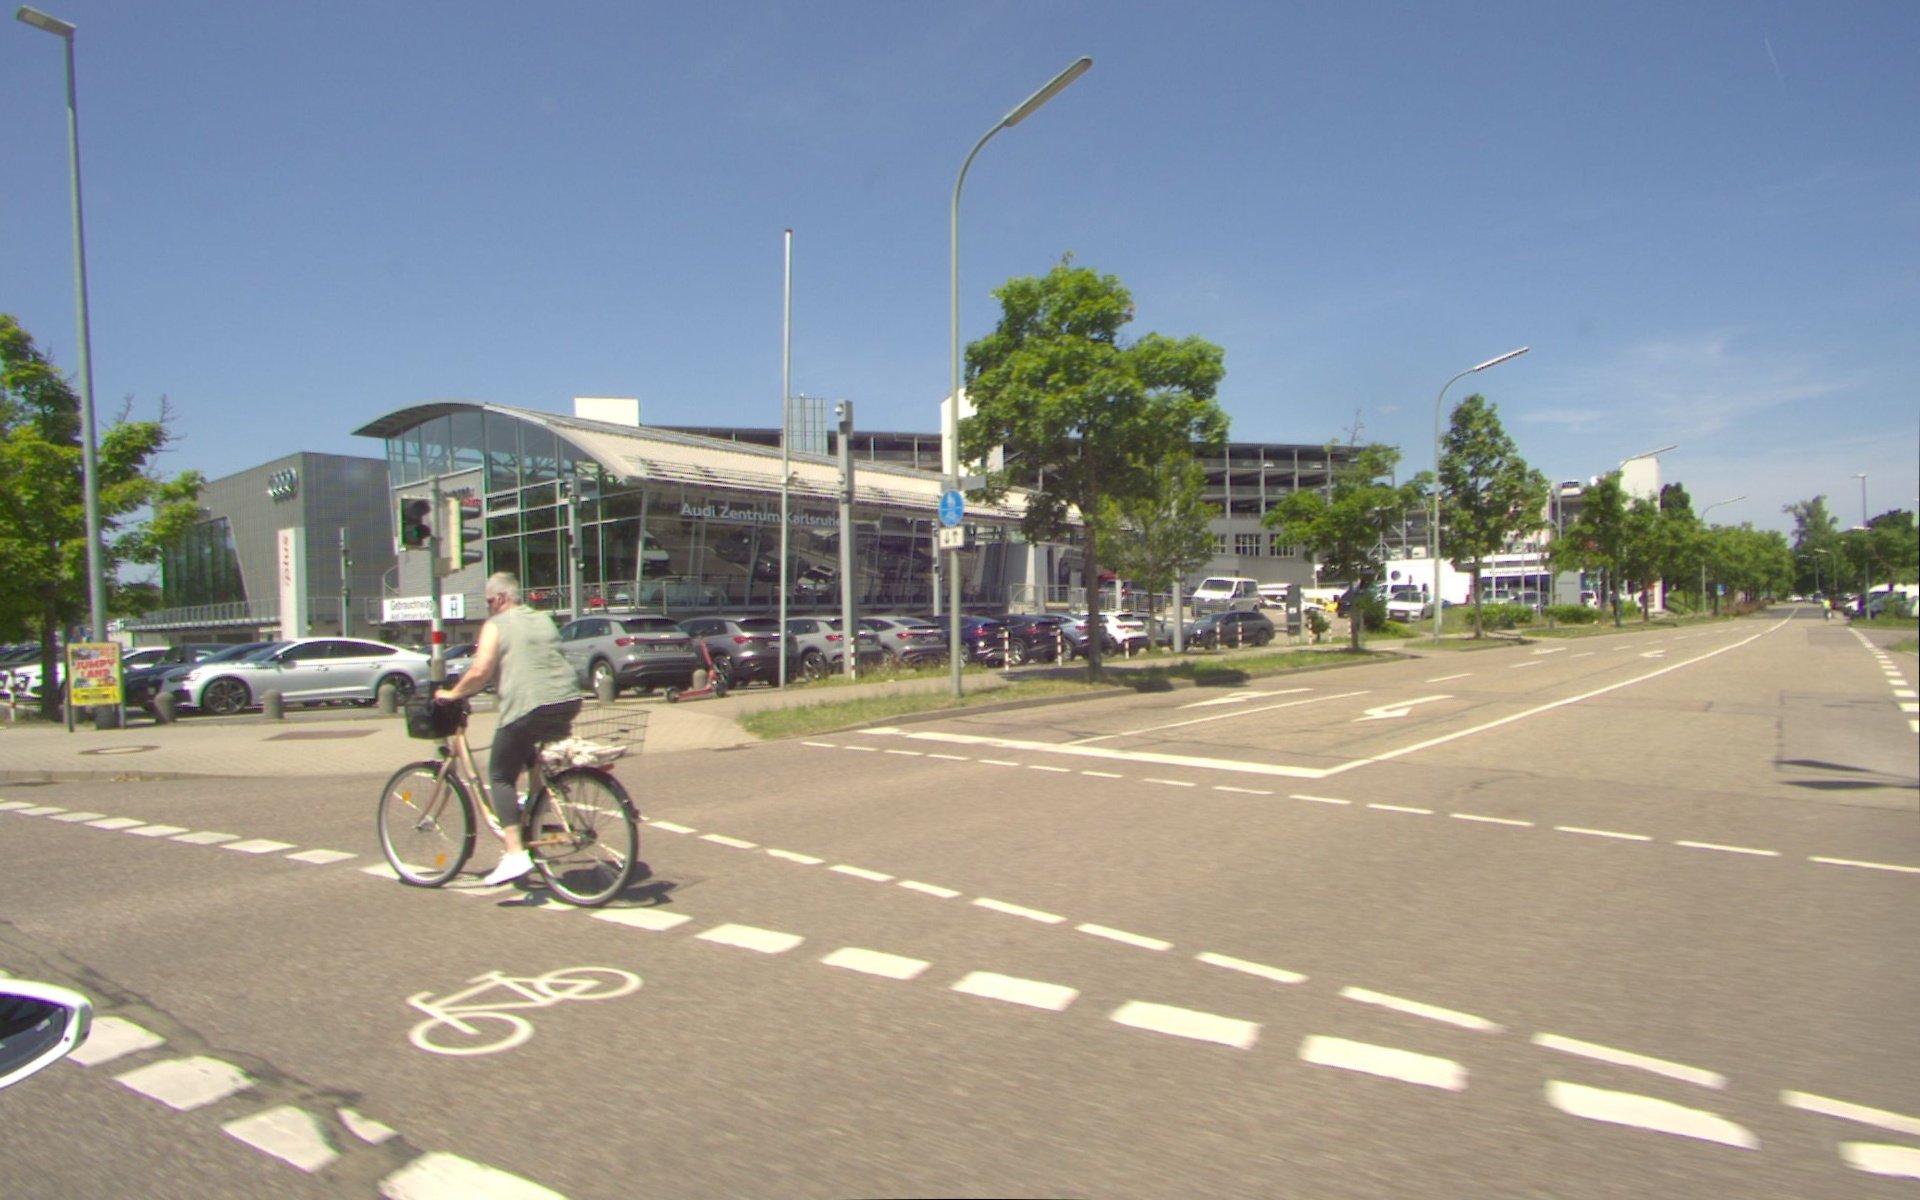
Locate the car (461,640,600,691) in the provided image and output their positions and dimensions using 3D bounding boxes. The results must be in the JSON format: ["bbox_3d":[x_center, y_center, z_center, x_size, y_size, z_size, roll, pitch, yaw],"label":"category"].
[{"bbox_3d":[-14.538,2.199,34.050,1.828,1.618,3.973,-2,-4,38],"label":"car"}]

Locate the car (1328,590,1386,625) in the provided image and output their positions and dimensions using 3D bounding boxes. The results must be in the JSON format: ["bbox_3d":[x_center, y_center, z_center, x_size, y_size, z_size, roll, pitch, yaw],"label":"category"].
[{"bbox_3d":[21.175,0.426,53.344,1.974,1.727,3.976,-1,-3,36],"label":"car"}]

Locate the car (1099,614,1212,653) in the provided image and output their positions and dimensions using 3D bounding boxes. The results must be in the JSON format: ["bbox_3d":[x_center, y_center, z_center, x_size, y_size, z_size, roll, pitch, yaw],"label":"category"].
[{"bbox_3d":[8.315,1.400,42.453,4.519,1.491,1.905,-1,-1,-28],"label":"car"}]

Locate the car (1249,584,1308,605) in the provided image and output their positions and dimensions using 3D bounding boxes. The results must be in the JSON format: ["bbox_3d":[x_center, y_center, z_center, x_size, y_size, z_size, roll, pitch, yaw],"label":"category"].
[{"bbox_3d":[26.638,-0.439,83.858,4.302,1.674,1.901,-2,-1,37],"label":"car"}]

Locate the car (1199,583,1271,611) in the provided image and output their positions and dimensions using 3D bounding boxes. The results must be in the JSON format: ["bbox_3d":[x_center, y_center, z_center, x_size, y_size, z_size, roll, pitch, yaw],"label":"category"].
[{"bbox_3d":[19.280,-0.206,70.296,4.534,1.820,1.899,-2,-1,39],"label":"car"}]

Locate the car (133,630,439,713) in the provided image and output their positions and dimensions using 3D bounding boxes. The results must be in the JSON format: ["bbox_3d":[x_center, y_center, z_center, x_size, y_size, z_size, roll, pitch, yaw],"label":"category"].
[{"bbox_3d":[-12.881,1.352,19.416,1.846,1.407,4.576,-2,-4,39],"label":"car"}]

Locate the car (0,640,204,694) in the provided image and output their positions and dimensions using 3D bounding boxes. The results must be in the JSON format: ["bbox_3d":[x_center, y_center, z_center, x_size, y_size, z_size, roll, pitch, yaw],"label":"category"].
[{"bbox_3d":[-23.327,1.791,27.238,1.846,1.365,4.086,-2,-4,38],"label":"car"}]

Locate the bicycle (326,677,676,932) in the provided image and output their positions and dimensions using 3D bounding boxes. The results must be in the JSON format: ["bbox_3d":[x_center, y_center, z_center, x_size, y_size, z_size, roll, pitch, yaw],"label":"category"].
[{"bbox_3d":[-2.485,1.015,5.385,1.863,1.147,0.628,-1,-1,23],"label":"bicycle"}]

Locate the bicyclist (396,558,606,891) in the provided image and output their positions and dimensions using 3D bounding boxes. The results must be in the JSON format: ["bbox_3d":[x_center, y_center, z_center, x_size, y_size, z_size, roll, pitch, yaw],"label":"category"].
[{"bbox_3d":[-2.443,0.626,5.361,0.812,1.626,0.628,-1,-2,23],"label":"bicyclist"}]

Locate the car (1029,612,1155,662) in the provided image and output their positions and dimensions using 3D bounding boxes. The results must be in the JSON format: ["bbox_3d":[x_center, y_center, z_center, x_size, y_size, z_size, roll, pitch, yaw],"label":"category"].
[{"bbox_3d":[4.580,1.314,34.901,3.944,1.675,1.841,-2,-3,34],"label":"car"}]

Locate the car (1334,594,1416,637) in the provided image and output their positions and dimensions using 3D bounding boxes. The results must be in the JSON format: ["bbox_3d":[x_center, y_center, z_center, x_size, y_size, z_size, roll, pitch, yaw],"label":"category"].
[{"bbox_3d":[17.722,0.637,42.657,1.892,1.716,4.551,-1,-1,41],"label":"car"}]

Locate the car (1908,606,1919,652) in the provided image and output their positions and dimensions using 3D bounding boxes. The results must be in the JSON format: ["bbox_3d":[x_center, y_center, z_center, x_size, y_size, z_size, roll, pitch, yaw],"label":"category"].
[{"bbox_3d":[30.414,0.820,29.205,3.923,1.350,1.919,-1,-1,-7],"label":"car"}]

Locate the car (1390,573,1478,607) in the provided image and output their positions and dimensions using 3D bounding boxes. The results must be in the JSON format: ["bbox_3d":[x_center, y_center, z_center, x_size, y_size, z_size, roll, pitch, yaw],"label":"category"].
[{"bbox_3d":[28.509,-0.559,60.294,4.530,1.911,1.901,-2,-1,37],"label":"car"}]

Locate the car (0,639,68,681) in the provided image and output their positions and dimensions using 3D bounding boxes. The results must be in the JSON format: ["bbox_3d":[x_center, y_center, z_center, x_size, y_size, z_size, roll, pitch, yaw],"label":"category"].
[{"bbox_3d":[-34.192,2.117,35.404,1.811,1.471,3.670,-2,-4,38],"label":"car"}]

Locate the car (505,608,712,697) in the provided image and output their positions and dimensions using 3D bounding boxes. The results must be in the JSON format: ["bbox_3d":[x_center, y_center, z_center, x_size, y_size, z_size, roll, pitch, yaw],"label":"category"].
[{"bbox_3d":[-7.151,1.062,20.173,4.451,1.578,1.860,-4,-1,39],"label":"car"}]

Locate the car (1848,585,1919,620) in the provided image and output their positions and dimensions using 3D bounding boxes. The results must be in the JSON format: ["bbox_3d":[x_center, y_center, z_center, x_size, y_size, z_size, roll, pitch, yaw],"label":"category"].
[{"bbox_3d":[73.325,0.222,77.583,6.619,2.552,2.202,-2,-3,41],"label":"car"}]

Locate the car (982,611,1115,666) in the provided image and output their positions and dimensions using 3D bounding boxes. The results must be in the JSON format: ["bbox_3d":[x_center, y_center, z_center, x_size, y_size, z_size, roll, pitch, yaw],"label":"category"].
[{"bbox_3d":[2.871,1.254,32.811,3.944,1.676,1.840,-2,-1,34],"label":"car"}]

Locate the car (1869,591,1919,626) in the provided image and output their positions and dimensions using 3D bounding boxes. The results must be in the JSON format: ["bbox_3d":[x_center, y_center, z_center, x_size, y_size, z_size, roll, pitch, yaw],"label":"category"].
[{"bbox_3d":[58.409,0.498,60.886,4.521,2.039,1.986,-2,-3,39],"label":"car"}]

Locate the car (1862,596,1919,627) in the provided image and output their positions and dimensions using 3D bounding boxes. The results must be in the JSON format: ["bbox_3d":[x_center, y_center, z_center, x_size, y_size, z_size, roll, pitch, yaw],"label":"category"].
[{"bbox_3d":[64.263,0.797,67.825,4.521,2.039,1.986,-2,-3,39],"label":"car"}]

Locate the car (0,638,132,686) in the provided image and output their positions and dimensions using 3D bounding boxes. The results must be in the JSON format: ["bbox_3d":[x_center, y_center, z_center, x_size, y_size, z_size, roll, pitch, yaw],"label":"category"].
[{"bbox_3d":[-29.881,2.013,32.693,1.846,1.471,4.088,-2,-4,38],"label":"car"}]

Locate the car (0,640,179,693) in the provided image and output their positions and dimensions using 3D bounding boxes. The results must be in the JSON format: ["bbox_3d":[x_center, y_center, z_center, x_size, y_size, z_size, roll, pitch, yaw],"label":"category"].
[{"bbox_3d":[-25.389,1.887,28.862,1.846,1.407,4.212,-2,-4,38],"label":"car"}]

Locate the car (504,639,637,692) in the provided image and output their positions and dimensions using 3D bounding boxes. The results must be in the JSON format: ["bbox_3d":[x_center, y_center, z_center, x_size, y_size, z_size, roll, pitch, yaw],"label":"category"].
[{"bbox_3d":[-12.089,1.997,30.937,4.663,1.534,1.867,-2,-4,41],"label":"car"}]

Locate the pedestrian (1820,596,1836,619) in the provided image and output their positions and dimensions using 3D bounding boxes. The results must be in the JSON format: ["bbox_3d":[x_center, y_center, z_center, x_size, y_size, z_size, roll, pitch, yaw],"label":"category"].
[{"bbox_3d":[65.416,0.576,75.471,0.864,1.699,0.751,-1,0,42],"label":"pedestrian"}]

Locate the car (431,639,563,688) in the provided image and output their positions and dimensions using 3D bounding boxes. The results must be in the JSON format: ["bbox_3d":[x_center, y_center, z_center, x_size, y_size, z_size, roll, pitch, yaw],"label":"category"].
[{"bbox_3d":[-16.454,2.236,35.773,1.636,1.642,3.973,-2,-3,38],"label":"car"}]

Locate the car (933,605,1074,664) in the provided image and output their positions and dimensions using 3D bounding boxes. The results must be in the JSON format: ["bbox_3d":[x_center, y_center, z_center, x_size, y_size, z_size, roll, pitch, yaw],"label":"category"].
[{"bbox_3d":[1.298,1.085,30.616,3.944,1.675,1.841,-2,-3,34],"label":"car"}]

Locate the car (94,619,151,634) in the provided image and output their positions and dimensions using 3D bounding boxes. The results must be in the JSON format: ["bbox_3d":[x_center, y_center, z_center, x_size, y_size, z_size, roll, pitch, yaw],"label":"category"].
[{"bbox_3d":[-73.134,2.326,87.514,1.654,1.255,3.517,-2,-3,33],"label":"car"}]

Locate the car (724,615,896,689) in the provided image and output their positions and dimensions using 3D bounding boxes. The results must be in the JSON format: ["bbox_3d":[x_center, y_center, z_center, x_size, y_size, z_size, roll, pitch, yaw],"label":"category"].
[{"bbox_3d":[-3.686,1.266,24.400,3.944,1.675,1.841,-2,-3,34],"label":"car"}]

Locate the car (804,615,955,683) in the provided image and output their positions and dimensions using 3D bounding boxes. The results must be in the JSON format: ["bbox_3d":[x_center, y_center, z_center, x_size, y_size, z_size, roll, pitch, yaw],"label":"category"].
[{"bbox_3d":[-2.139,1.229,26.198,3.765,1.637,1.632,0,-1,34],"label":"car"}]

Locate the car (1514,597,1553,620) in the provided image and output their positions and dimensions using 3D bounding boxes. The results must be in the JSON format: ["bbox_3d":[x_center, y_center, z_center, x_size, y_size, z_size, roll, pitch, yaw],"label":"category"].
[{"bbox_3d":[41.624,0.611,72.660,1.762,1.541,3.659,-1,-1,41],"label":"car"}]

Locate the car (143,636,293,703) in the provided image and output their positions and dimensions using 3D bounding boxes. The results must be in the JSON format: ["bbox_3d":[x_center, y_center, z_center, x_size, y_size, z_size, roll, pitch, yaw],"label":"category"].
[{"bbox_3d":[-17.730,1.620,23.857,4.608,1.437,1.855,-2,-4,40],"label":"car"}]

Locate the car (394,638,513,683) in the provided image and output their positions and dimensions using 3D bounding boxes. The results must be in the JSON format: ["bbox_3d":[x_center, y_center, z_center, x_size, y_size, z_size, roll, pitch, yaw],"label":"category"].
[{"bbox_3d":[-18.985,2.269,37.664,1.622,1.600,3.636,-2,-3,38],"label":"car"}]

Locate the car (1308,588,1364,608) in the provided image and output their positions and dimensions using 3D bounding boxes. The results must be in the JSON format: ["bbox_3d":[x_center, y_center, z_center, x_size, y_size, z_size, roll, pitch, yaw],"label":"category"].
[{"bbox_3d":[33.643,-0.129,89.680,4.306,1.674,1.899,-2,-1,39],"label":"car"}]

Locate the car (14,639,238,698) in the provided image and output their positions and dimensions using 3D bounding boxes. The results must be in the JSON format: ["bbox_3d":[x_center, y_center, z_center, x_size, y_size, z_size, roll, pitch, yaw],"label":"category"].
[{"bbox_3d":[-21.198,1.714,25.597,1.851,1.381,4.083,-2,-4,38],"label":"car"}]

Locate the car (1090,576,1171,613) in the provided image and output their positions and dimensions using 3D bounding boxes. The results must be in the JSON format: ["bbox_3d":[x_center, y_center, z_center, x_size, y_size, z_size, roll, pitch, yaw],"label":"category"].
[{"bbox_3d":[8.549,-0.257,49.882,1.892,1.730,4.552,-1,-1,41],"label":"car"}]

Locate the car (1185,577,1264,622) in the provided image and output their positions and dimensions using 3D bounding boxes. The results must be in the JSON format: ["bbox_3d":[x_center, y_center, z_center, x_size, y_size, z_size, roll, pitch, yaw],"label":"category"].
[{"bbox_3d":[12.502,-0.012,47.019,1.888,1.992,5.219,-1,-1,35],"label":"car"}]

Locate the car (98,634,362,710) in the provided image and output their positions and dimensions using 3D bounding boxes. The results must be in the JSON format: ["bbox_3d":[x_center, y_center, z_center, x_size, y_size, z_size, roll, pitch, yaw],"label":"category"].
[{"bbox_3d":[-15.033,1.460,20.804,1.846,1.407,4.083,-2,-4,38],"label":"car"}]

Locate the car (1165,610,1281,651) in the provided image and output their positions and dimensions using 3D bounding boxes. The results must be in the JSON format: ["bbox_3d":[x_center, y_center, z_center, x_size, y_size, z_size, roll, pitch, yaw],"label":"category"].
[{"bbox_3d":[10.750,1.202,40.901,4.546,1.491,1.842,-1,0,-28],"label":"car"}]

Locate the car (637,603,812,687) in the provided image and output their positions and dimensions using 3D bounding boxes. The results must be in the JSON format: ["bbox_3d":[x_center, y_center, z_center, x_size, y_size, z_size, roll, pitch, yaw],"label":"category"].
[{"bbox_3d":[-5.268,1.057,22.157,3.955,1.674,1.836,-4,-5,41],"label":"car"}]

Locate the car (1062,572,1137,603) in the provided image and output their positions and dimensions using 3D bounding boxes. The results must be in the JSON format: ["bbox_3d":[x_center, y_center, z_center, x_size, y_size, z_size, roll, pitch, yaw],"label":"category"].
[{"bbox_3d":[8.374,-0.712,60.134,4.089,1.744,1.904,-1,-1,31],"label":"car"}]

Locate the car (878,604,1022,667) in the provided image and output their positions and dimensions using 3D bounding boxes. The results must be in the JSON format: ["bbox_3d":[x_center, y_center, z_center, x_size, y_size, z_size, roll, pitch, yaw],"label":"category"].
[{"bbox_3d":[-0.301,1.019,28.427,3.858,1.675,1.625,-2,-2,34],"label":"car"}]

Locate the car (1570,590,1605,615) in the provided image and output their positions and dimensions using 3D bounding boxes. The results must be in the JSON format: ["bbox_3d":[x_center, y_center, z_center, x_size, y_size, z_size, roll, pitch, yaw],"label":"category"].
[{"bbox_3d":[52.954,0.233,84.511,1.898,2.040,3.967,-1,-1,41],"label":"car"}]

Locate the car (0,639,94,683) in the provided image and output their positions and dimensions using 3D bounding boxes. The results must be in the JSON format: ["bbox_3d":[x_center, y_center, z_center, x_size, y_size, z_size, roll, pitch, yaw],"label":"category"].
[{"bbox_3d":[-32.024,2.061,33.997,1.811,1.471,3.670,-2,-4,38],"label":"car"}]

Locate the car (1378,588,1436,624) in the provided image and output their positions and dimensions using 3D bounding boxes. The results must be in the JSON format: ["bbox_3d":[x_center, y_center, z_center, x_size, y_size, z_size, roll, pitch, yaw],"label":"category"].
[{"bbox_3d":[23.209,0.362,51.933,1.974,1.727,3.976,-1,-3,36],"label":"car"}]

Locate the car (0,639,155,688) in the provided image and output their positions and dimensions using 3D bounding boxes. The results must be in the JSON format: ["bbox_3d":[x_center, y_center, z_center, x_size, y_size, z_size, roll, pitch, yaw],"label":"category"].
[{"bbox_3d":[-27.489,1.938,30.690,1.846,1.422,4.088,-2,-4,38],"label":"car"}]
